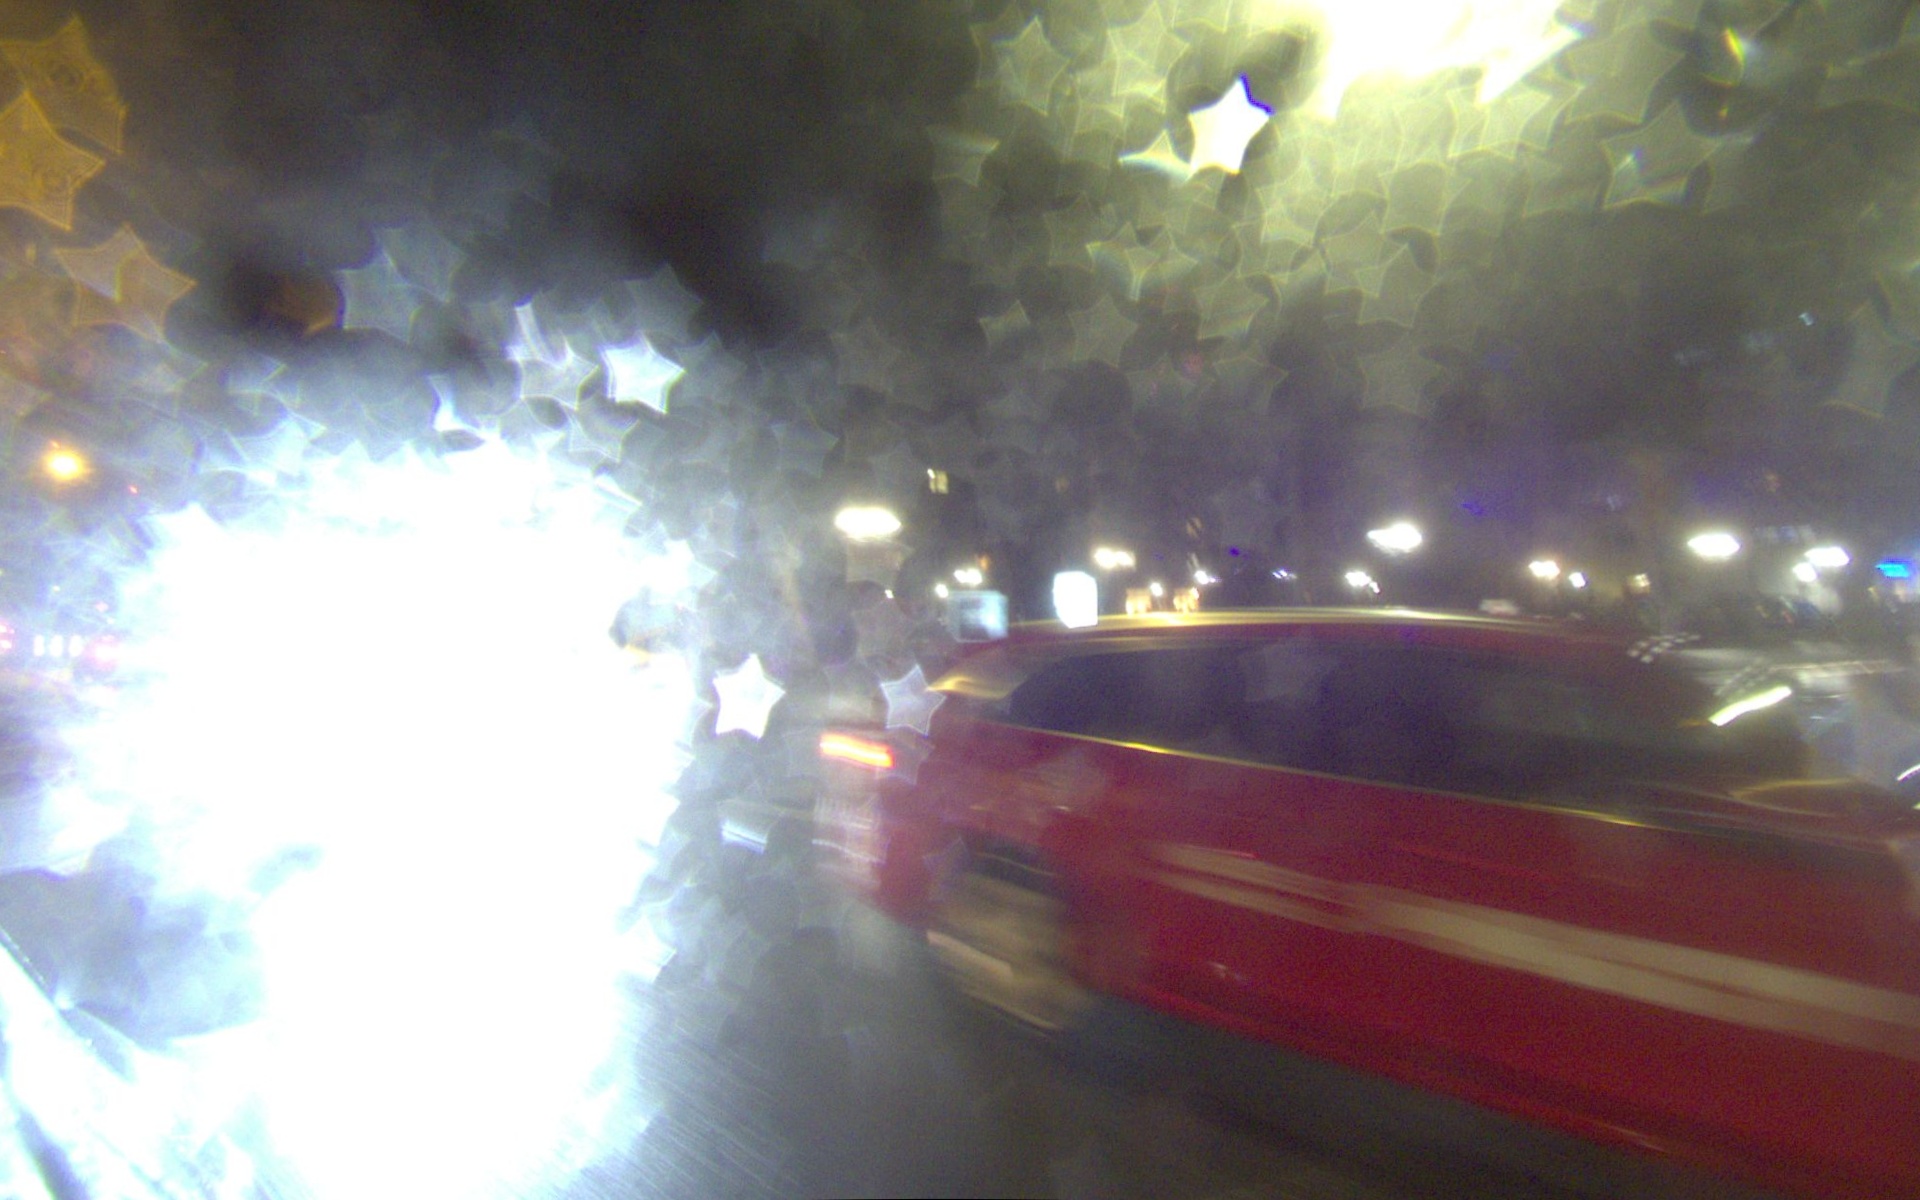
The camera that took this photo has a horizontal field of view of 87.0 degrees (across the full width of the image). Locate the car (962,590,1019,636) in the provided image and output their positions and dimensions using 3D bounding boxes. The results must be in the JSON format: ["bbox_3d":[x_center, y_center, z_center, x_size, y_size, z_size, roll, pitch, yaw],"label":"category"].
[{"bbox_3d":[1.876,0.811,63.829,1.689,2.752,4.369,-1,-1,-26],"label":"car"}]

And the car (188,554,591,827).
[{"bbox_3d":[-5.774,0.755,9.856,5.201,1.968,2.011,-3,-2,44],"label":"car"}]

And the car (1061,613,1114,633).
[{"bbox_3d":[9.812,1.783,78.279,1.838,1.454,4.508,-1,-1,-27],"label":"car"}]

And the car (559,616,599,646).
[{"bbox_3d":[-24.010,1.950,63.690,1.838,1.773,4.508,-1,-1,-27],"label":"car"}]

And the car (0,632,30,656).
[{"bbox_3d":[-64.462,2.970,68.817,1.579,1.576,4.382,4,-4,-44],"label":"car"}]

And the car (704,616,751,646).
[{"bbox_3d":[-12.846,1.678,55.812,1.689,1.532,3.931,-1,-1,-26],"label":"car"}]

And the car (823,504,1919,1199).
[{"bbox_3d":[1.864,0.604,3.122,4.721,1.554,1.800,-1,-1,39],"label":"car"}]

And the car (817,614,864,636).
[{"bbox_3d":[-8.460,1.761,71.258,1.838,1.454,4.508,-1,-1,-27],"label":"car"}]

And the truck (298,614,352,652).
[{"bbox_3d":[-36.072,1.896,57.608,2.093,2.029,5.279,-1,-2,-27],"label":"truck"}]

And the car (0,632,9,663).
[{"bbox_3d":[-48.825,2.401,50.183,4.764,1.511,1.834,-3,-2,39],"label":"car"}]

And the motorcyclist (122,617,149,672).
[{"bbox_3d":[-31.409,1.685,38.560,0.983,2.029,0.685,-3,-2,44],"label":"motorcyclist"}]

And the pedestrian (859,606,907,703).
[{"bbox_3d":[-1.465,1.007,19.097,0.758,1.749,0.972,-1,-1,-12],"label":"pedestrian"}]
